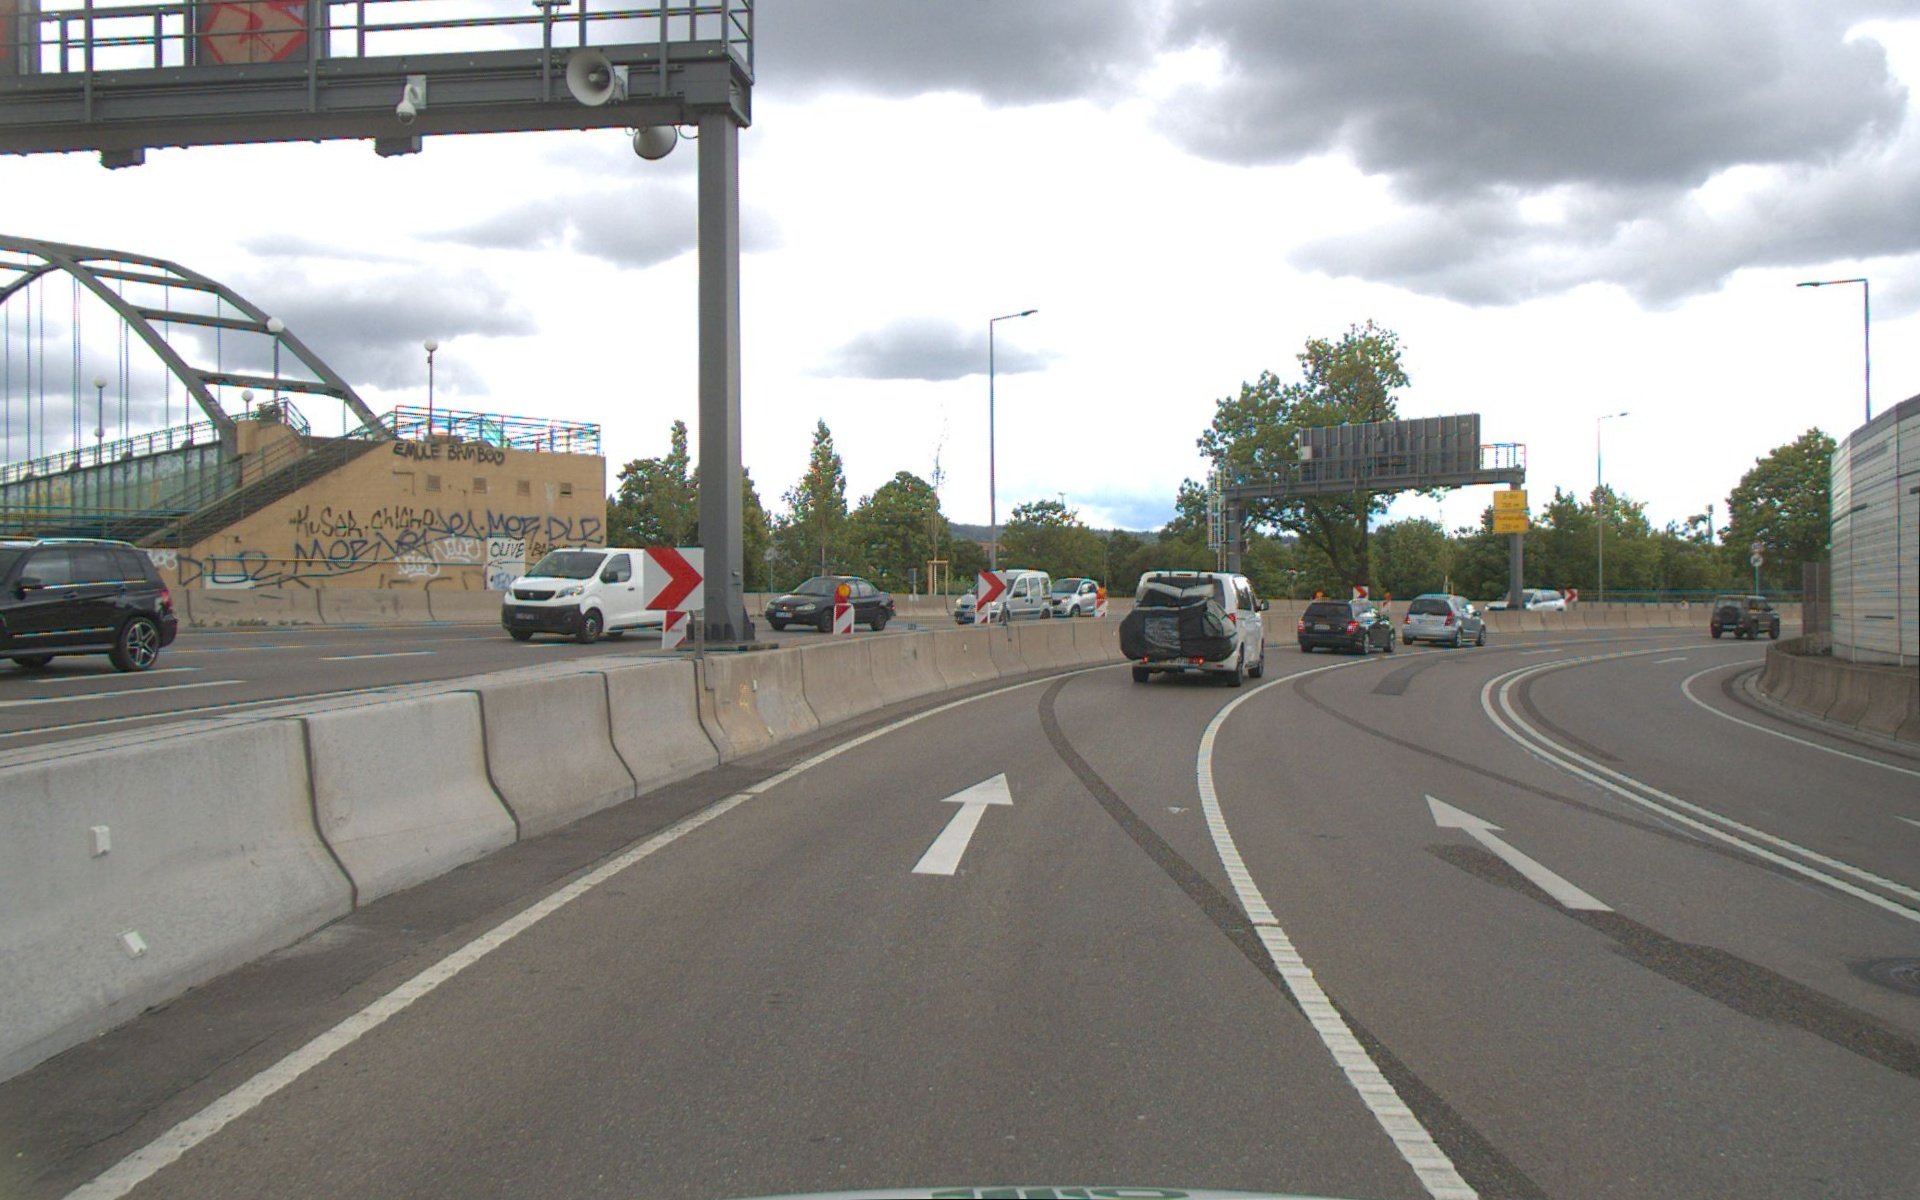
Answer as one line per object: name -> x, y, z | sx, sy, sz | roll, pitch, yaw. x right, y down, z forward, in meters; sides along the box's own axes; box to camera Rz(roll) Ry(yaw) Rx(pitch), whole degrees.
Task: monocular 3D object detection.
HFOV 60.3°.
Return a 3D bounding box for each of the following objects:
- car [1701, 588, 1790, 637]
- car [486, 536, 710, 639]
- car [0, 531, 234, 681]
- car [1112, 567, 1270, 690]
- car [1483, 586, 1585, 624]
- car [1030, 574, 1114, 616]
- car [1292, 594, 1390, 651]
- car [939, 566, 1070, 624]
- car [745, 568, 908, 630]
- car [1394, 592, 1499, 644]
car -> 31.387, 0.513, 66.025 | 3.969, 1.892, 1.968 | 1, -1, -44
car -> -7.475, -0.248, 34.763 | 2.191, 1.986, 5.105 | 1, 0, 20
car -> -11.570, 0.047, 20.498 | 1.951, 1.725, 4.930 | 1, 0, 17
car -> 4.136, 0.416, 28.781 | 1.951, 1.891, 5.645 | 1, 1, 16
car -> 25.467, 0.209, 73.319 | 5.099, 1.579, 2.072 | 0, 2, -42
car -> 4.164, -0.183, 61.443 | 1.603, 1.501, 2.920 | 1, 0, 44
car -> 10.223, 0.579, 44.178 | 1.778, 1.459, 4.063 | -1, 0, 24
car -> 1.426, -0.153, 51.389 | 1.962, 1.715, 4.240 | 1, 0, 38
car -> -3.481, -0.025, 43.880 | 1.958, 1.514, 4.576 | 1, 0, 32
car -> 15.317, 0.529, 51.971 | 1.889, 1.515, 4.049 | 1, 1, 37
